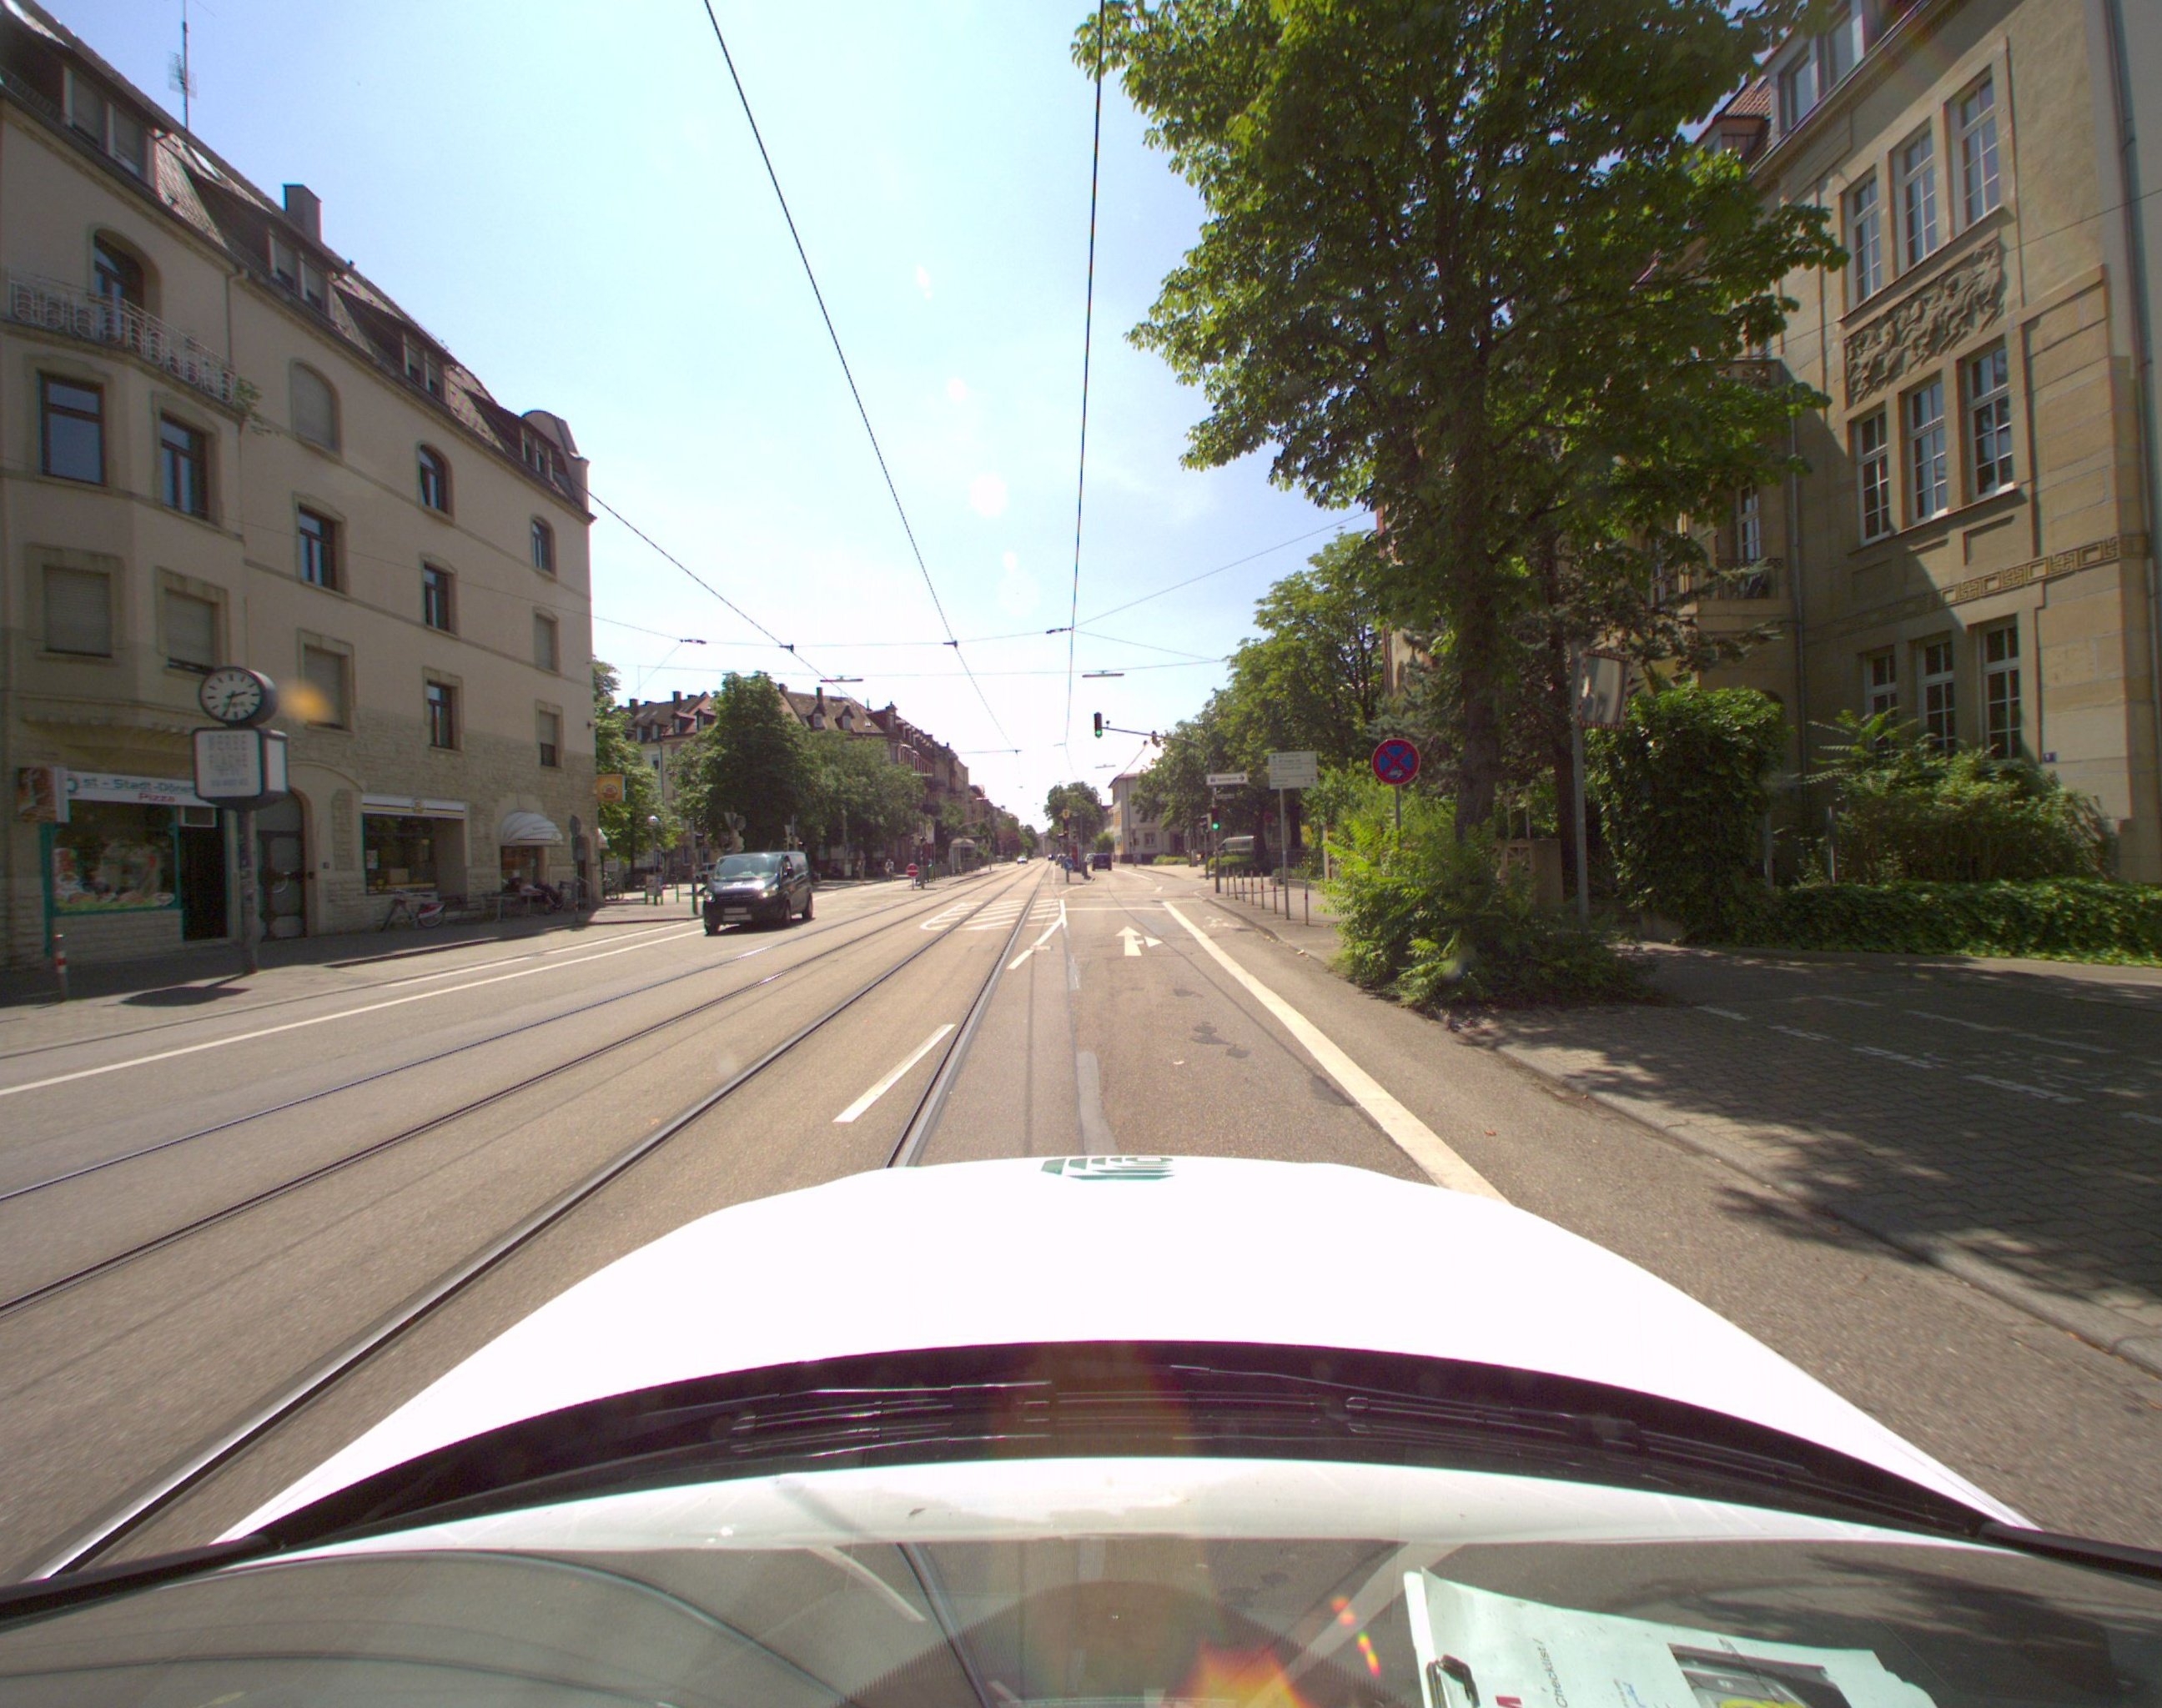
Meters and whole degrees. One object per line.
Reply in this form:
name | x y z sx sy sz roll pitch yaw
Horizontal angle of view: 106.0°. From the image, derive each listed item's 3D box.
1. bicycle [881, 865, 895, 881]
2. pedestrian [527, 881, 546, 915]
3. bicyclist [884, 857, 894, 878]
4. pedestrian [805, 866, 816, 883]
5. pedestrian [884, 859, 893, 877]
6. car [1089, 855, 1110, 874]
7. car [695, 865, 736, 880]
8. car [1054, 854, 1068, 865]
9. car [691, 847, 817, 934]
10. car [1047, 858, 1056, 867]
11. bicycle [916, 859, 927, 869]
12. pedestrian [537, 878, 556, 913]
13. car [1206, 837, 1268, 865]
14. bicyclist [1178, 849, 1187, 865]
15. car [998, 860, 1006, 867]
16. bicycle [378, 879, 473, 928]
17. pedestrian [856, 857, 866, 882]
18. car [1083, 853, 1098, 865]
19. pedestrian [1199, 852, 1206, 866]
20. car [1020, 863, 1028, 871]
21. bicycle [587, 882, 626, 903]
bicycle | -14.438 1.425 61.052 0.626 1.157 1.976 -1 0 -3
pedestrian | -17.831 1.433 26.674 0.354 1.089 0.405 -1 -1 -6
bicyclist | -14.439 1.036 61.105 0.607 1.574 0.585 -1 -1 -3
pedestrian | -19.756 1.491 59.395 0.553 1.256 0.638 0 -1 -43
pedestrian | -17.393 1.264 73.519 0.679 1.605 0.771 -1 -1 -6
car | 1.550 0.913 69.672 1.521 1.444 3.361 -3 -1 -2
car | -36.009 1.805 80.248 3.697 1.442 1.549 -1 -1 21
car | -2.834 0.796 112.915 1.524 1.456 3.355 -3 -1 -8
car | -8.465 0.908 21.554 1.842 1.938 4.810 -3 -1 -7
car | -6.876 1.907 190.980 2.042 2.014 4.602 -1 -1 -2
bicycle | -19.117 1.217 97.577 0.360 1.169 1.529 0 0 34
pedestrian | -18.045 1.396 27.504 0.404 1.148 0.405 -1 -1 -6
car | 15.141 -0.249 79.352 2.011 2.590 5.780 -2 0 -42
bicyclist | 10.551 0.338 84.885 0.687 1.646 0.584 -2 -1 31
car | -18.257 2.267 188.946 1.682 1.472 3.931 -5 -1 -5
bicycle | -17.605 1.308 21.946 0.450 1.225 2.089 -1 -1 17
pedestrian | -16.505 1.149 61.098 0.508 1.879 0.494 -1 -1 2
car | 1.266 0.655 111.378 1.743 1.472 3.933 -5 -1 -3
pedestrian | 10.065 0.410 67.443 0.507 1.092 0.478 -3 0 3
car | -10.314 2.304 147.592 1.538 1.339 3.713 -1 -1 -4
bicycle | -23.634 1.905 40.587 0.286 0.974 1.683 -2 -1 40
